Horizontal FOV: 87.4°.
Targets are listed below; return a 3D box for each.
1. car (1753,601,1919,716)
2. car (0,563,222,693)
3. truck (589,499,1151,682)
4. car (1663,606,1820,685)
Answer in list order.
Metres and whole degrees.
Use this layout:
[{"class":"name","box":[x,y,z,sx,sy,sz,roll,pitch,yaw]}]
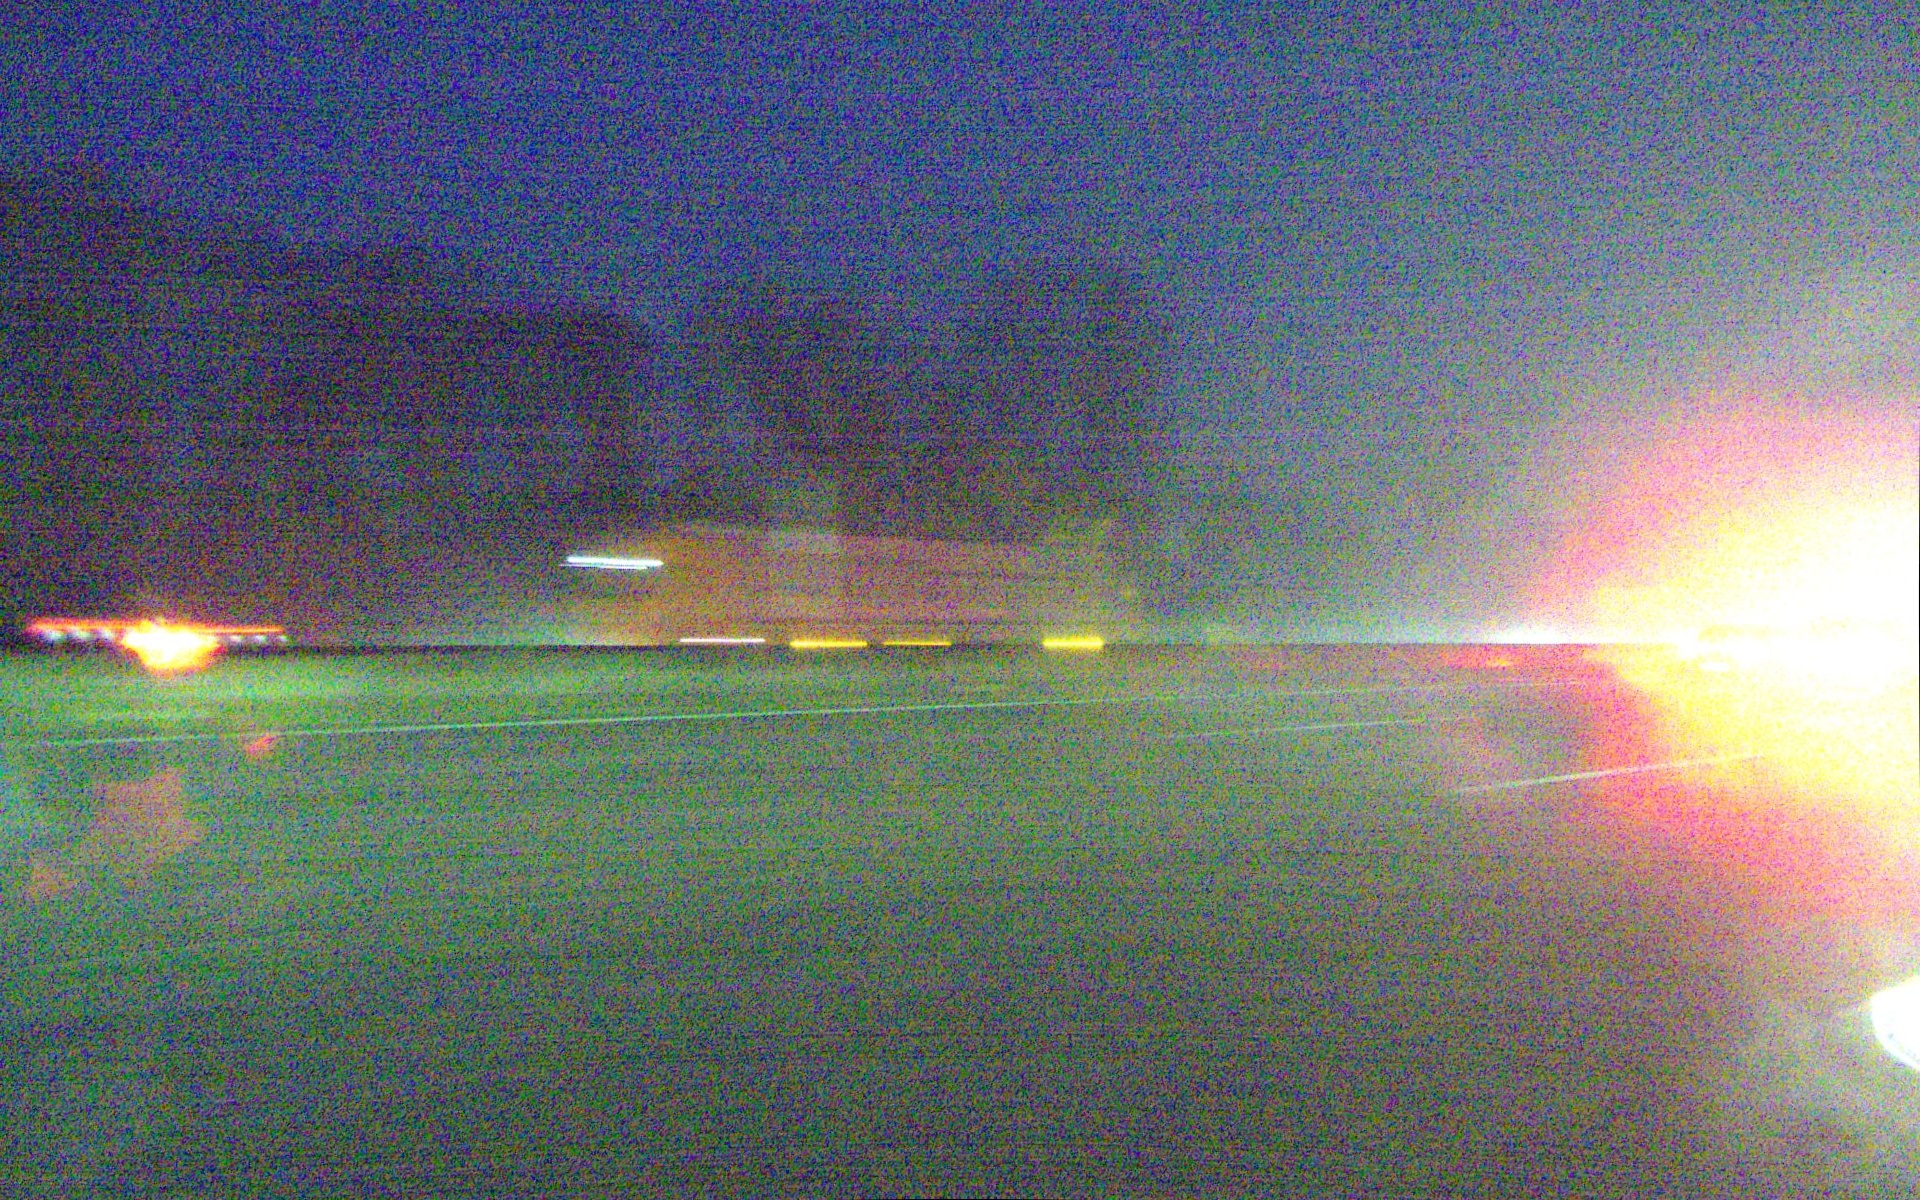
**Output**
[{"class":"car","box":[16.273,0.977,17.999,4.470,1.785,2.025,1,0,-35]},{"class":"car","box":[-13.400,0.367,14.293,4.456,1.747,1.824,1,0,-31]},{"class":"truck","box":[-1.891,-0.059,30.488,17.287,4.520,3.190,1,0,-31]},{"class":"car","box":[18.577,1.015,23.846,3.957,1.712,1.755,0,0,-33]}]
